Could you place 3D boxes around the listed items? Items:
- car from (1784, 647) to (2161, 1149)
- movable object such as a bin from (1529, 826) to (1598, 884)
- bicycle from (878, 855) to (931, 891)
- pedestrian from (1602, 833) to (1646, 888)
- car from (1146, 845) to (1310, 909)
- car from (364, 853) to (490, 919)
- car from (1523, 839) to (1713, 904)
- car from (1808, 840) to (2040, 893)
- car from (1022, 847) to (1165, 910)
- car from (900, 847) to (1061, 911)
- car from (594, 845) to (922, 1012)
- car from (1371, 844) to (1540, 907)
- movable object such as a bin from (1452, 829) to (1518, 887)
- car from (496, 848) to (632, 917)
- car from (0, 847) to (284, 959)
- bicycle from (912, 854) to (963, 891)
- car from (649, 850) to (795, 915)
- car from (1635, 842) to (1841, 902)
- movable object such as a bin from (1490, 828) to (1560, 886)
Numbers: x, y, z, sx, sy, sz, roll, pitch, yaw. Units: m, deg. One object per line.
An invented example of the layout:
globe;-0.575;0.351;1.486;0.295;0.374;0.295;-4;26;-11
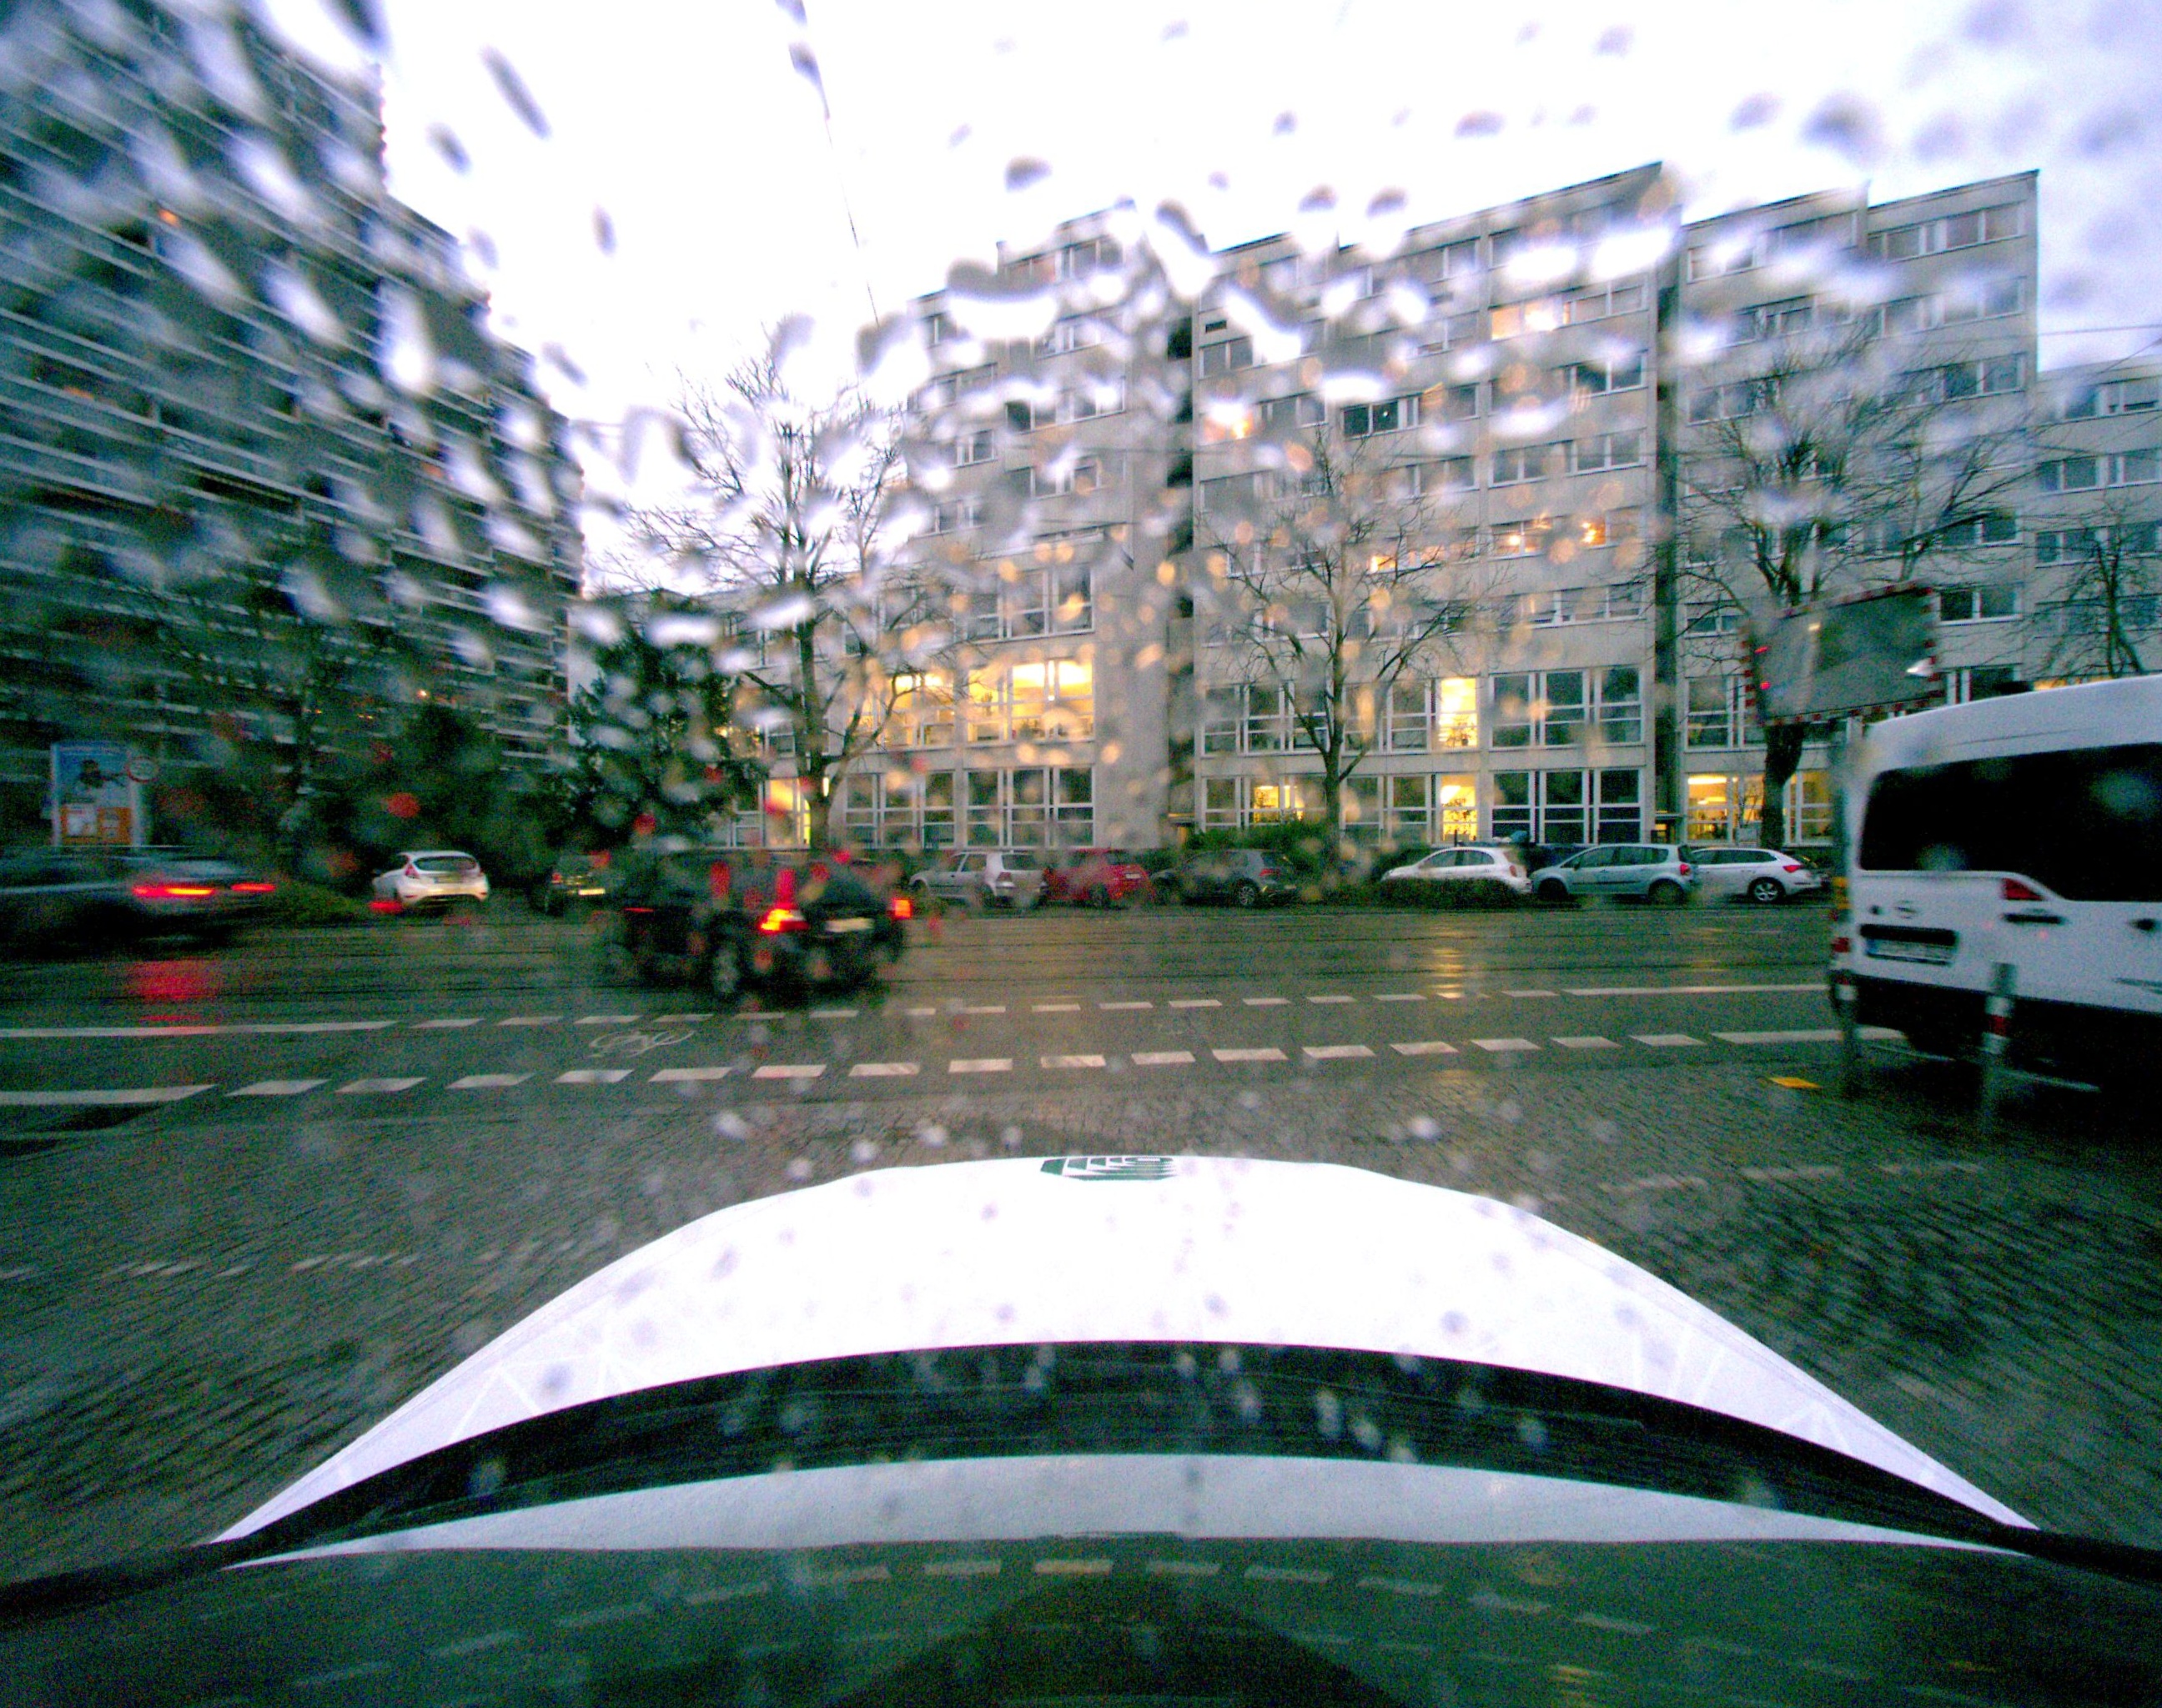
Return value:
car;7.943;0.159;5.222;5.416;2.487;2.126;-1;0;-7
movable object such as a bin;16.150;0.019;27.315;1.310;1.860;1.573;-2;0;-3
bicycle;-5.885;0.610;27.293;0.635;1.120;2.216;-1;0;19
pedestrian;17.123;0.194;25.697;0.968;1.677;0.598;-1;0;-5
car;3.736;0.555;21.040;3.805;1.492;1.706;-1;0;42
car;-15.779;0.707;19.584;3.950;1.399;1.867;-1;0;44
car;14.229;0.428;21.698;3.950;1.563;1.747;-1;0;44
car;23.390;0.340;22.860;4.291;1.352;1.761;-1;-1;38
car;0.279;0.593;21.155;3.408;1.492;1.740;-1;0;44
car;-2.606;0.602;20.638;3.949;1.446;1.804;-1;0;40
car;-3.958;0.711;9.645;4.240;1.544;1.764;-1;0;40
car;10.090;0.554;22.094;3.827;1.551;1.704;-1;0;41
movable object such as a bin;13.421;0.123;27.122;1.310;1.860;1.573;-2;0;-3
car;-12.540;0.641;19.670;3.950;1.462;1.867;-1;0;44
car;-15.588;0.731;12.697;4.358;1.578;1.709;-1;0;-6
bicycle;-4.714;0.588;26.935;0.635;1.120;2.216;-1;0;19
car;-8.744;0.631;19.694;3.950;1.379;1.867;-1;0;44
car;17.335;0.441;21.649;1.745;1.444;3.955;0;-1;-37
movable object such as a bin;14.808;0.093;27.231;1.386;1.860;1.573;-2;0;-3
